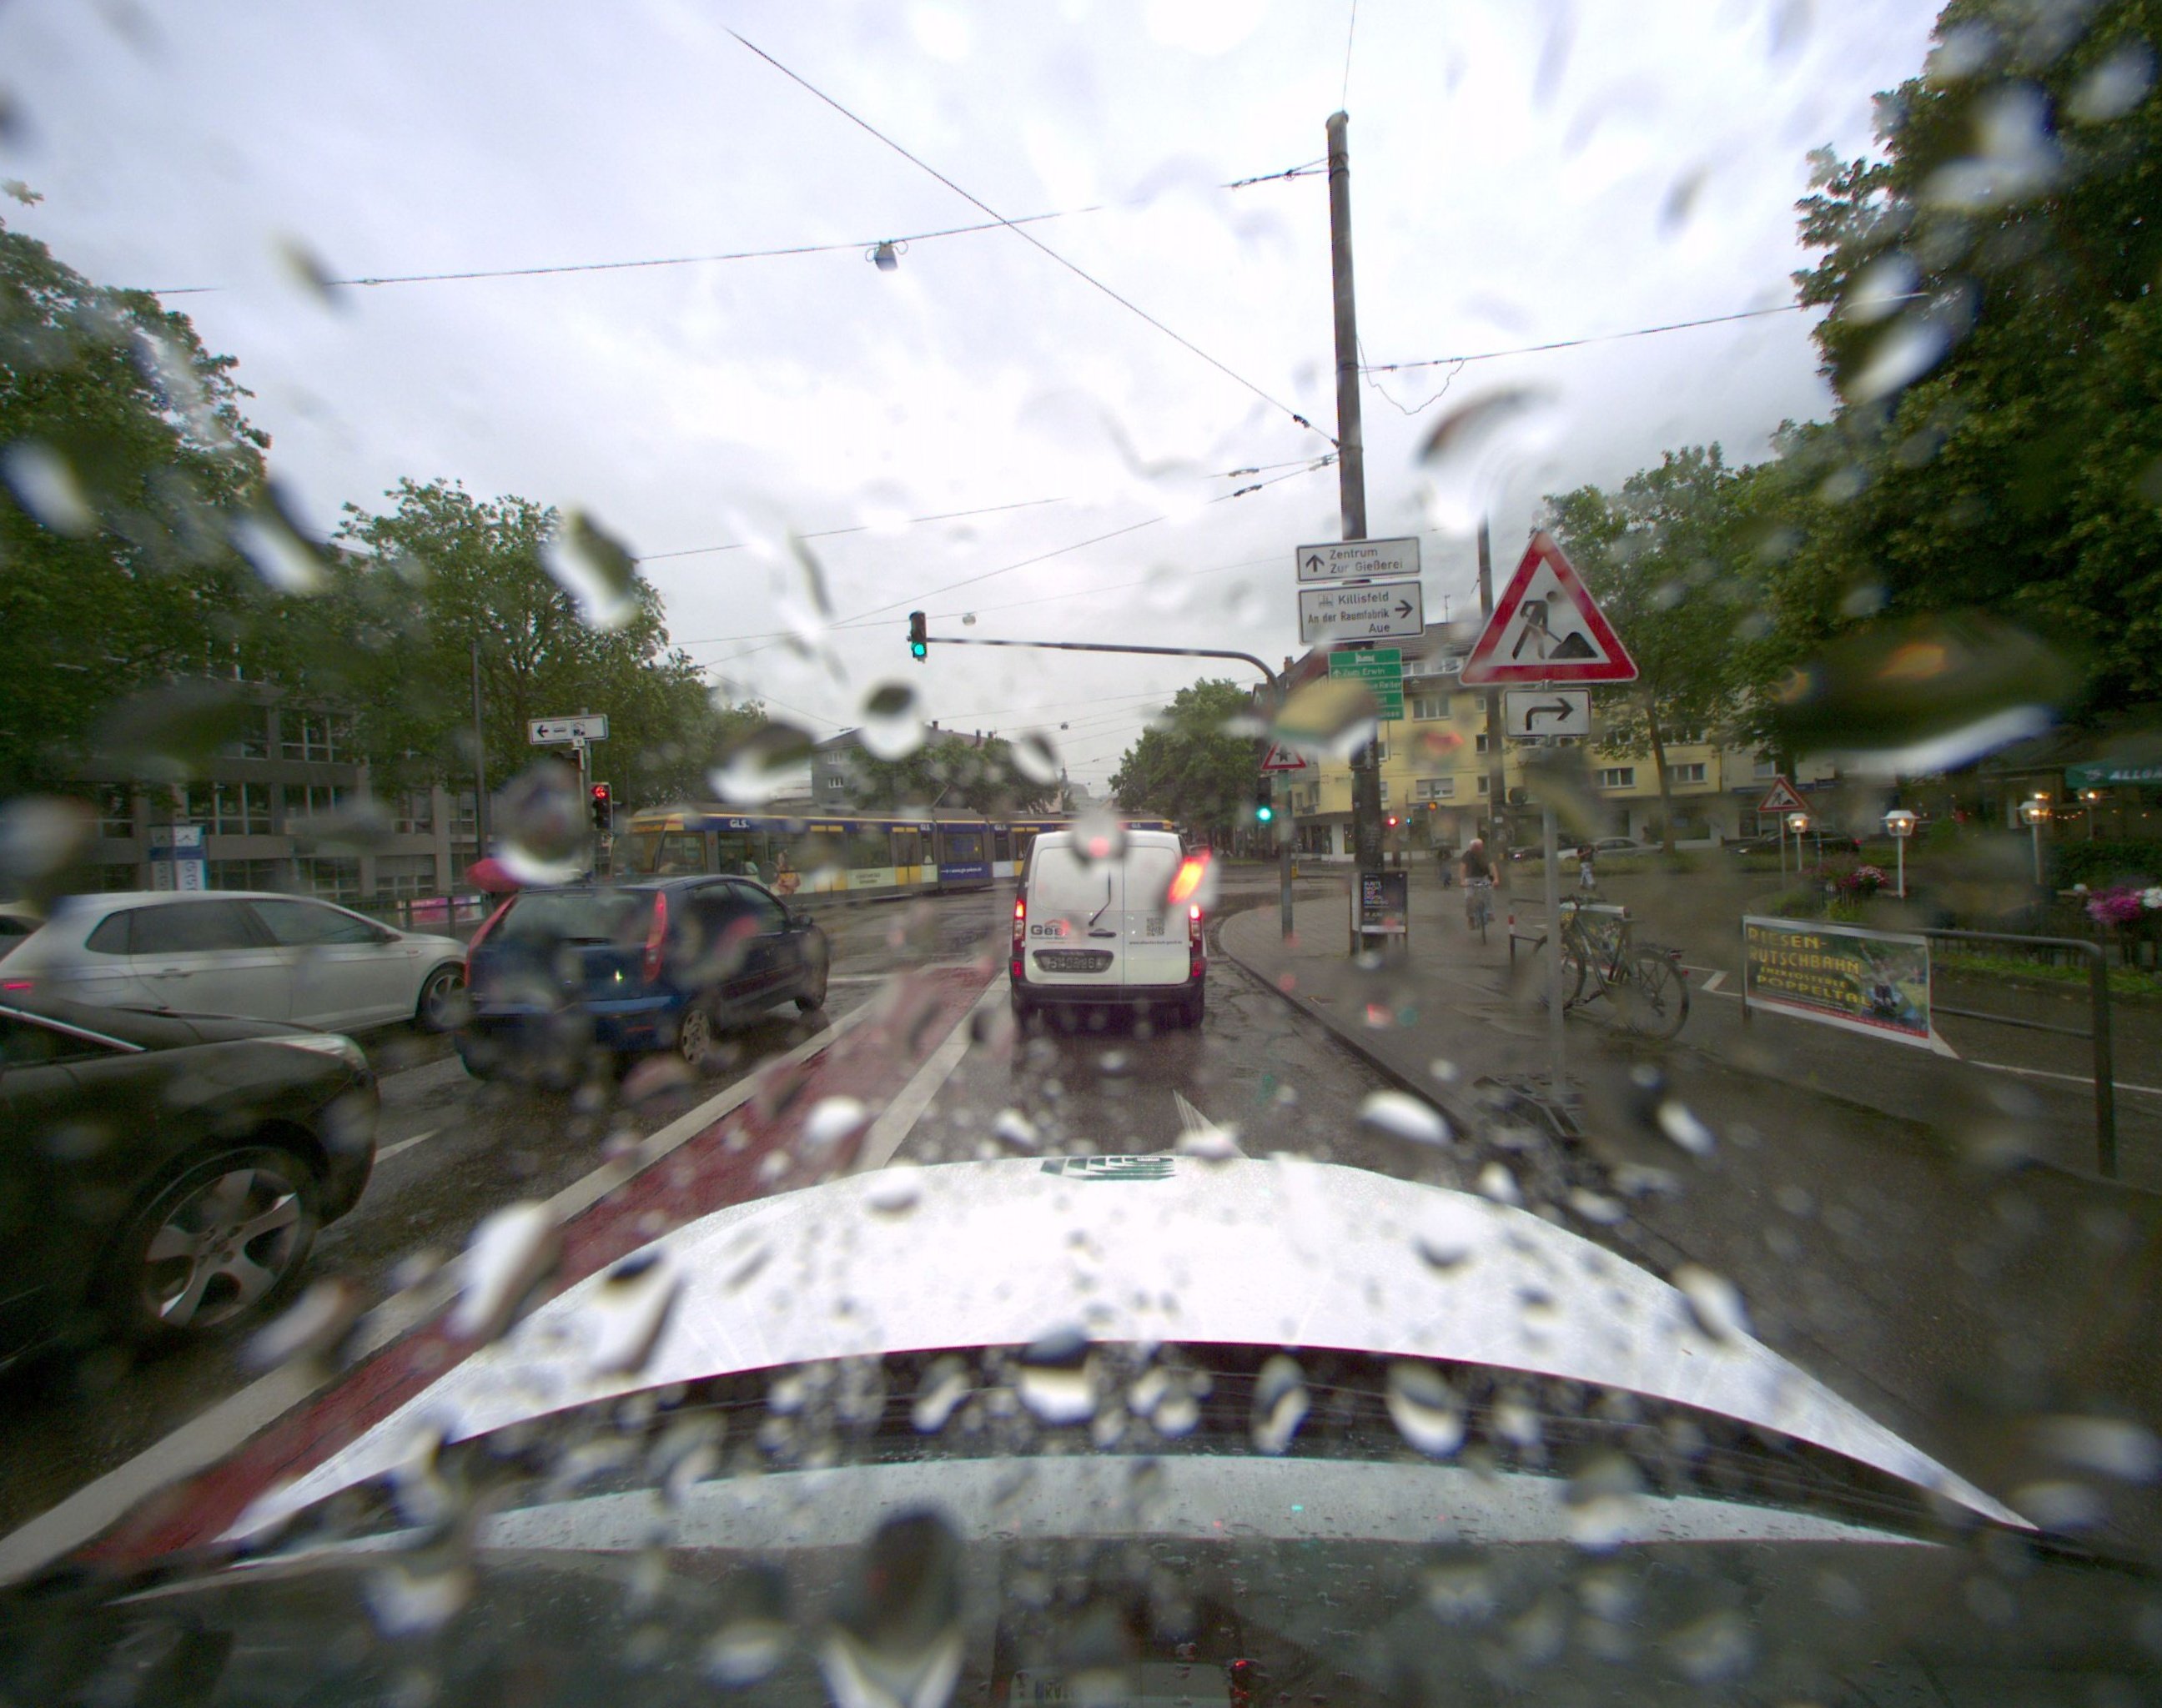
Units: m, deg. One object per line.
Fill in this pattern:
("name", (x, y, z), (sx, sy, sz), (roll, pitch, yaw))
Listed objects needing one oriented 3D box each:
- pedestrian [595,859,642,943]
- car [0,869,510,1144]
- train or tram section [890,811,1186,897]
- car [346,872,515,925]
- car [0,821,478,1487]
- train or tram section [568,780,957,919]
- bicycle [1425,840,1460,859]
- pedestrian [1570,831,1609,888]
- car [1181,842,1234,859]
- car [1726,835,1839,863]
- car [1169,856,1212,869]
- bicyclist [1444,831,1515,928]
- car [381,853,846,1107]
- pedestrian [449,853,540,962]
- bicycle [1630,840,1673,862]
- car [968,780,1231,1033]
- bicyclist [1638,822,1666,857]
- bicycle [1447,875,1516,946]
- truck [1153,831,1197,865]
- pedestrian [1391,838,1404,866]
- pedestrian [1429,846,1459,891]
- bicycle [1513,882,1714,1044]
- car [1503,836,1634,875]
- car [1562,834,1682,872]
("pedestrian", (-9.190, 0.916, 16.208), (0.626, 1.607, 0.738), (-1, 0, -15))
("car", (-6.769, 0.912, 6.520), (1.623, 1.494, 3.783), (-1, 0, 2))
("train or tram section", (-1.317, 0.001, 38.968), (15.592, 3.413, 3.509), (0, 0, -44))
("car", (-18.605, 1.234, 23.487), (1.582, 1.314, 3.538), (-1, 0, 16))
("car", (-3.651, 0.765, 1.522), (1.827, 1.668, 4.174), (-1, 0, 2))
("train or tram section", (-9.436, -0.095, 27.519), (3.481, 3.512, 13.736), (0, 0, 24))
("bicycle", (24.322, -0.305, 54.862), (2.085, 1.261, 0.534), (-1, 1, 16))
("pedestrian", (15.266, 0.157, 24.459), (0.896, 1.669, 1.026), (-1, 0, 28))
("car", (10.691, -0.324, 68.888), (4.160, 1.339, 1.518), (-2, 1, -6))
("car", (29.276, -0.187, 34.036), (3.511, 1.082, 1.248), (-1, 0, 4))
("car", (9.520, 0.730, 70.648), (3.437, 1.130, 1.468), (-1, 0, -6))
("bicyclist", (6.748, 0.425, 13.847), (0.872, 1.583, 0.863), (-1, 0, 12))
("car", (-3.521, 0.805, 7.075), (1.720, 1.578, 3.822), (-1, 0, 2))
("pedestrian", (-10.019, 0.891, 13.949), (0.763, 1.746, 0.899), (-4, 1, 1))
("bicycle", (26.450, -0.134, 37.762), (1.631, 1.002, 0.422), (-1, 0, 2))
("car", (0.229, 0.450, 9.137), (2.092, 2.012, 4.965), (-2, -1, 2))
("bicyclist", (26.478, -0.659, 37.764), (0.811, 1.615, 0.711), (-1, 0, 2))
("bicycle", (6.749, 0.918, 13.798), (0.456, 1.027, 1.906), (-1, 1, 8))
("truck", (14.993, -0.928, 131.345), (3.466, 5.087, 15.269), (-1, 0, -7))
("pedestrian", (16.789, -0.109, 43.197), (0.615, 1.500, 0.556), (-1, -1, 24))
("pedestrian", (12.700, 0.502, 28.470), (0.820, 1.534, 0.616), (-1, -1, -37))
("bicycle", (4.482, 0.844, 7.050), (0.512, 1.107, 2.018), (1, 0, 3))
("car", (22.850, 0.103, 38.377), (4.902, 1.643, 2.007), (-1, -3, 14))
("car", (23.093, -0.061, 34.922), (3.906, 1.490, 1.815), (-1, 1, 17))
